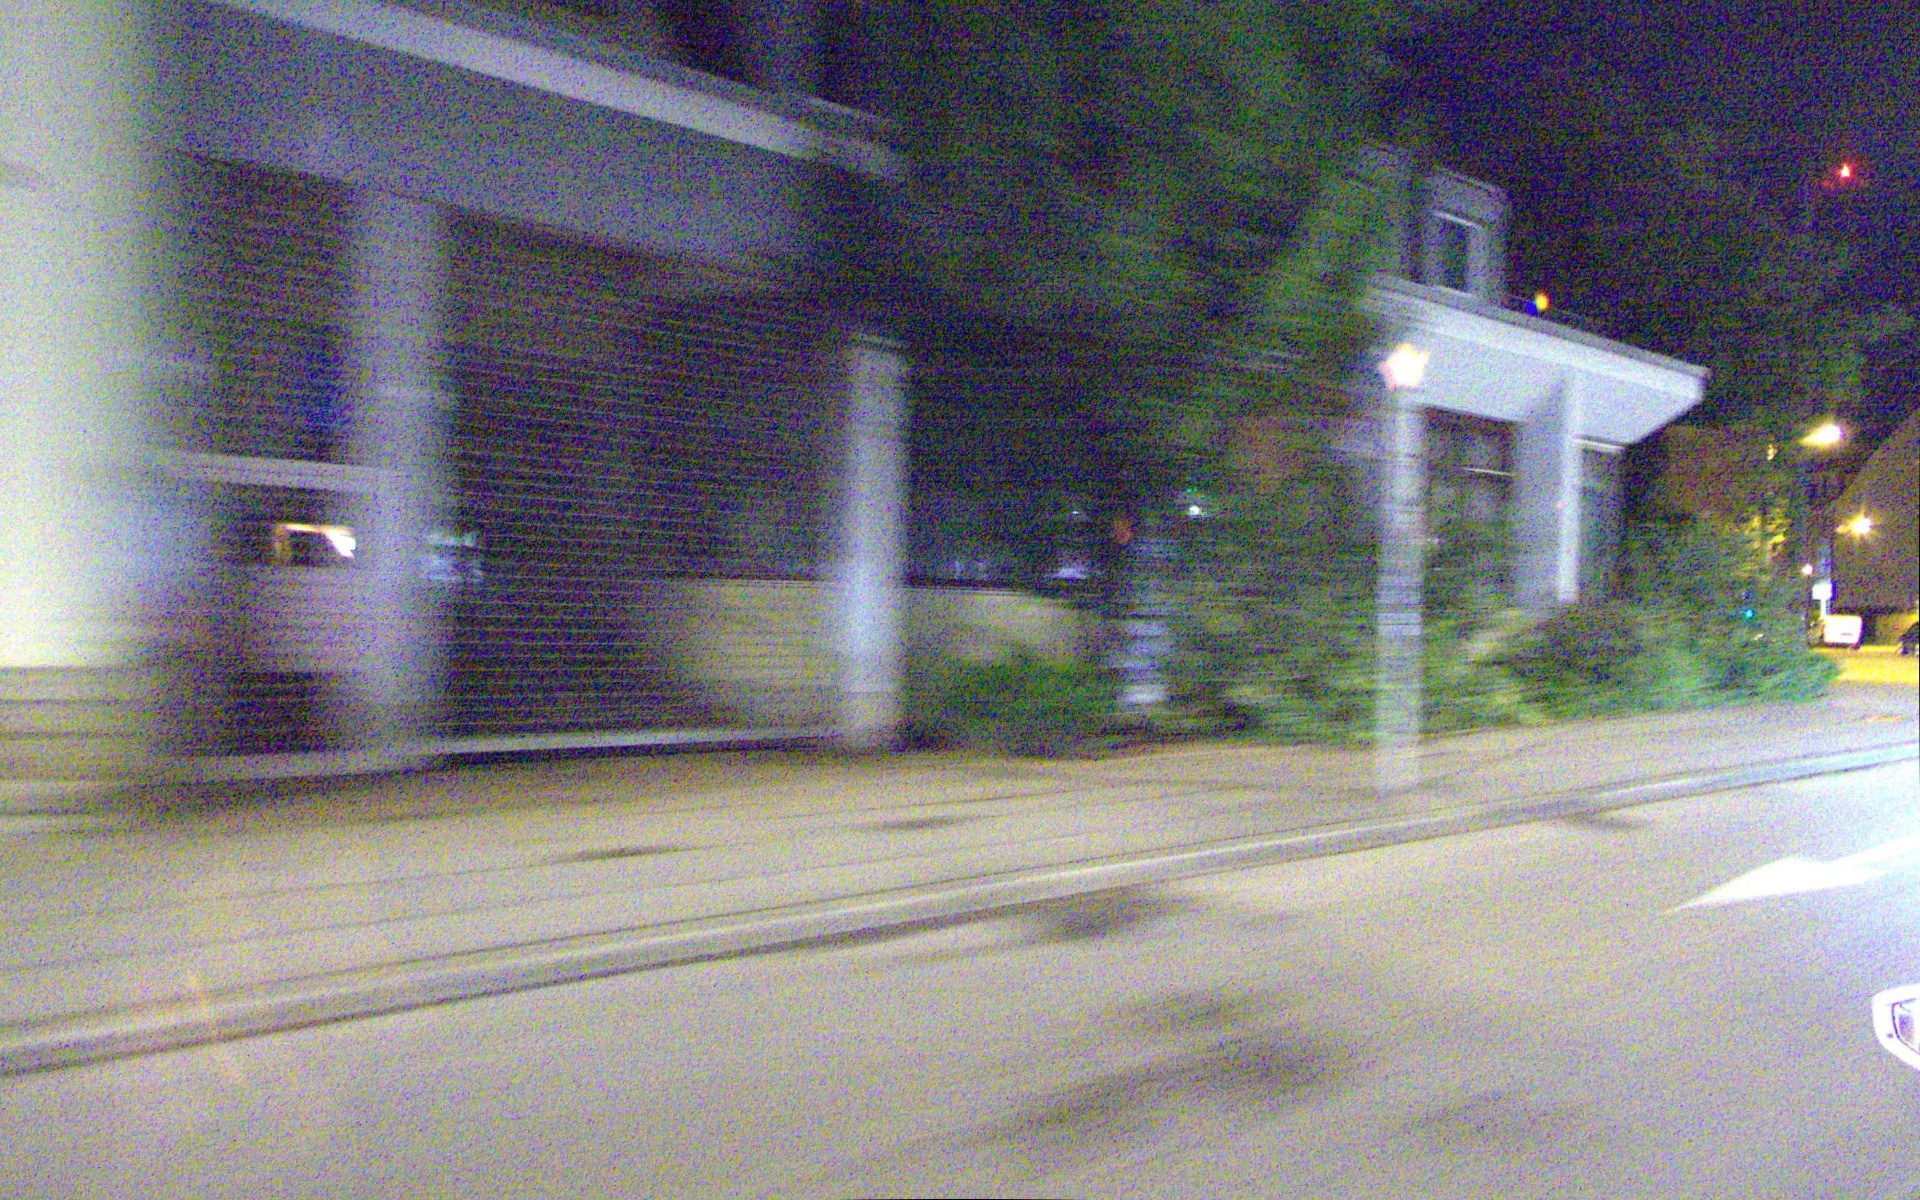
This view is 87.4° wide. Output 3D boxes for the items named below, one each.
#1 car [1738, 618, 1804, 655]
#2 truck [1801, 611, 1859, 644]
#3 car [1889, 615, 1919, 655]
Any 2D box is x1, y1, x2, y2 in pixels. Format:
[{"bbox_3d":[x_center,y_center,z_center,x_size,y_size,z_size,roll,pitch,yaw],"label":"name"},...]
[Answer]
[{"bbox_3d":[37.936,1.693,47.098,1.810,1.634,4.251,-2,-2,31],"label":"car"},{"bbox_3d":[49.815,1.580,57.593,1.863,1.831,4.104,0,-1,32],"label":"truck"},{"bbox_3d":[42.046,1.556,43.457,1.886,1.666,4.102,3,1,31],"label":"car"}]
